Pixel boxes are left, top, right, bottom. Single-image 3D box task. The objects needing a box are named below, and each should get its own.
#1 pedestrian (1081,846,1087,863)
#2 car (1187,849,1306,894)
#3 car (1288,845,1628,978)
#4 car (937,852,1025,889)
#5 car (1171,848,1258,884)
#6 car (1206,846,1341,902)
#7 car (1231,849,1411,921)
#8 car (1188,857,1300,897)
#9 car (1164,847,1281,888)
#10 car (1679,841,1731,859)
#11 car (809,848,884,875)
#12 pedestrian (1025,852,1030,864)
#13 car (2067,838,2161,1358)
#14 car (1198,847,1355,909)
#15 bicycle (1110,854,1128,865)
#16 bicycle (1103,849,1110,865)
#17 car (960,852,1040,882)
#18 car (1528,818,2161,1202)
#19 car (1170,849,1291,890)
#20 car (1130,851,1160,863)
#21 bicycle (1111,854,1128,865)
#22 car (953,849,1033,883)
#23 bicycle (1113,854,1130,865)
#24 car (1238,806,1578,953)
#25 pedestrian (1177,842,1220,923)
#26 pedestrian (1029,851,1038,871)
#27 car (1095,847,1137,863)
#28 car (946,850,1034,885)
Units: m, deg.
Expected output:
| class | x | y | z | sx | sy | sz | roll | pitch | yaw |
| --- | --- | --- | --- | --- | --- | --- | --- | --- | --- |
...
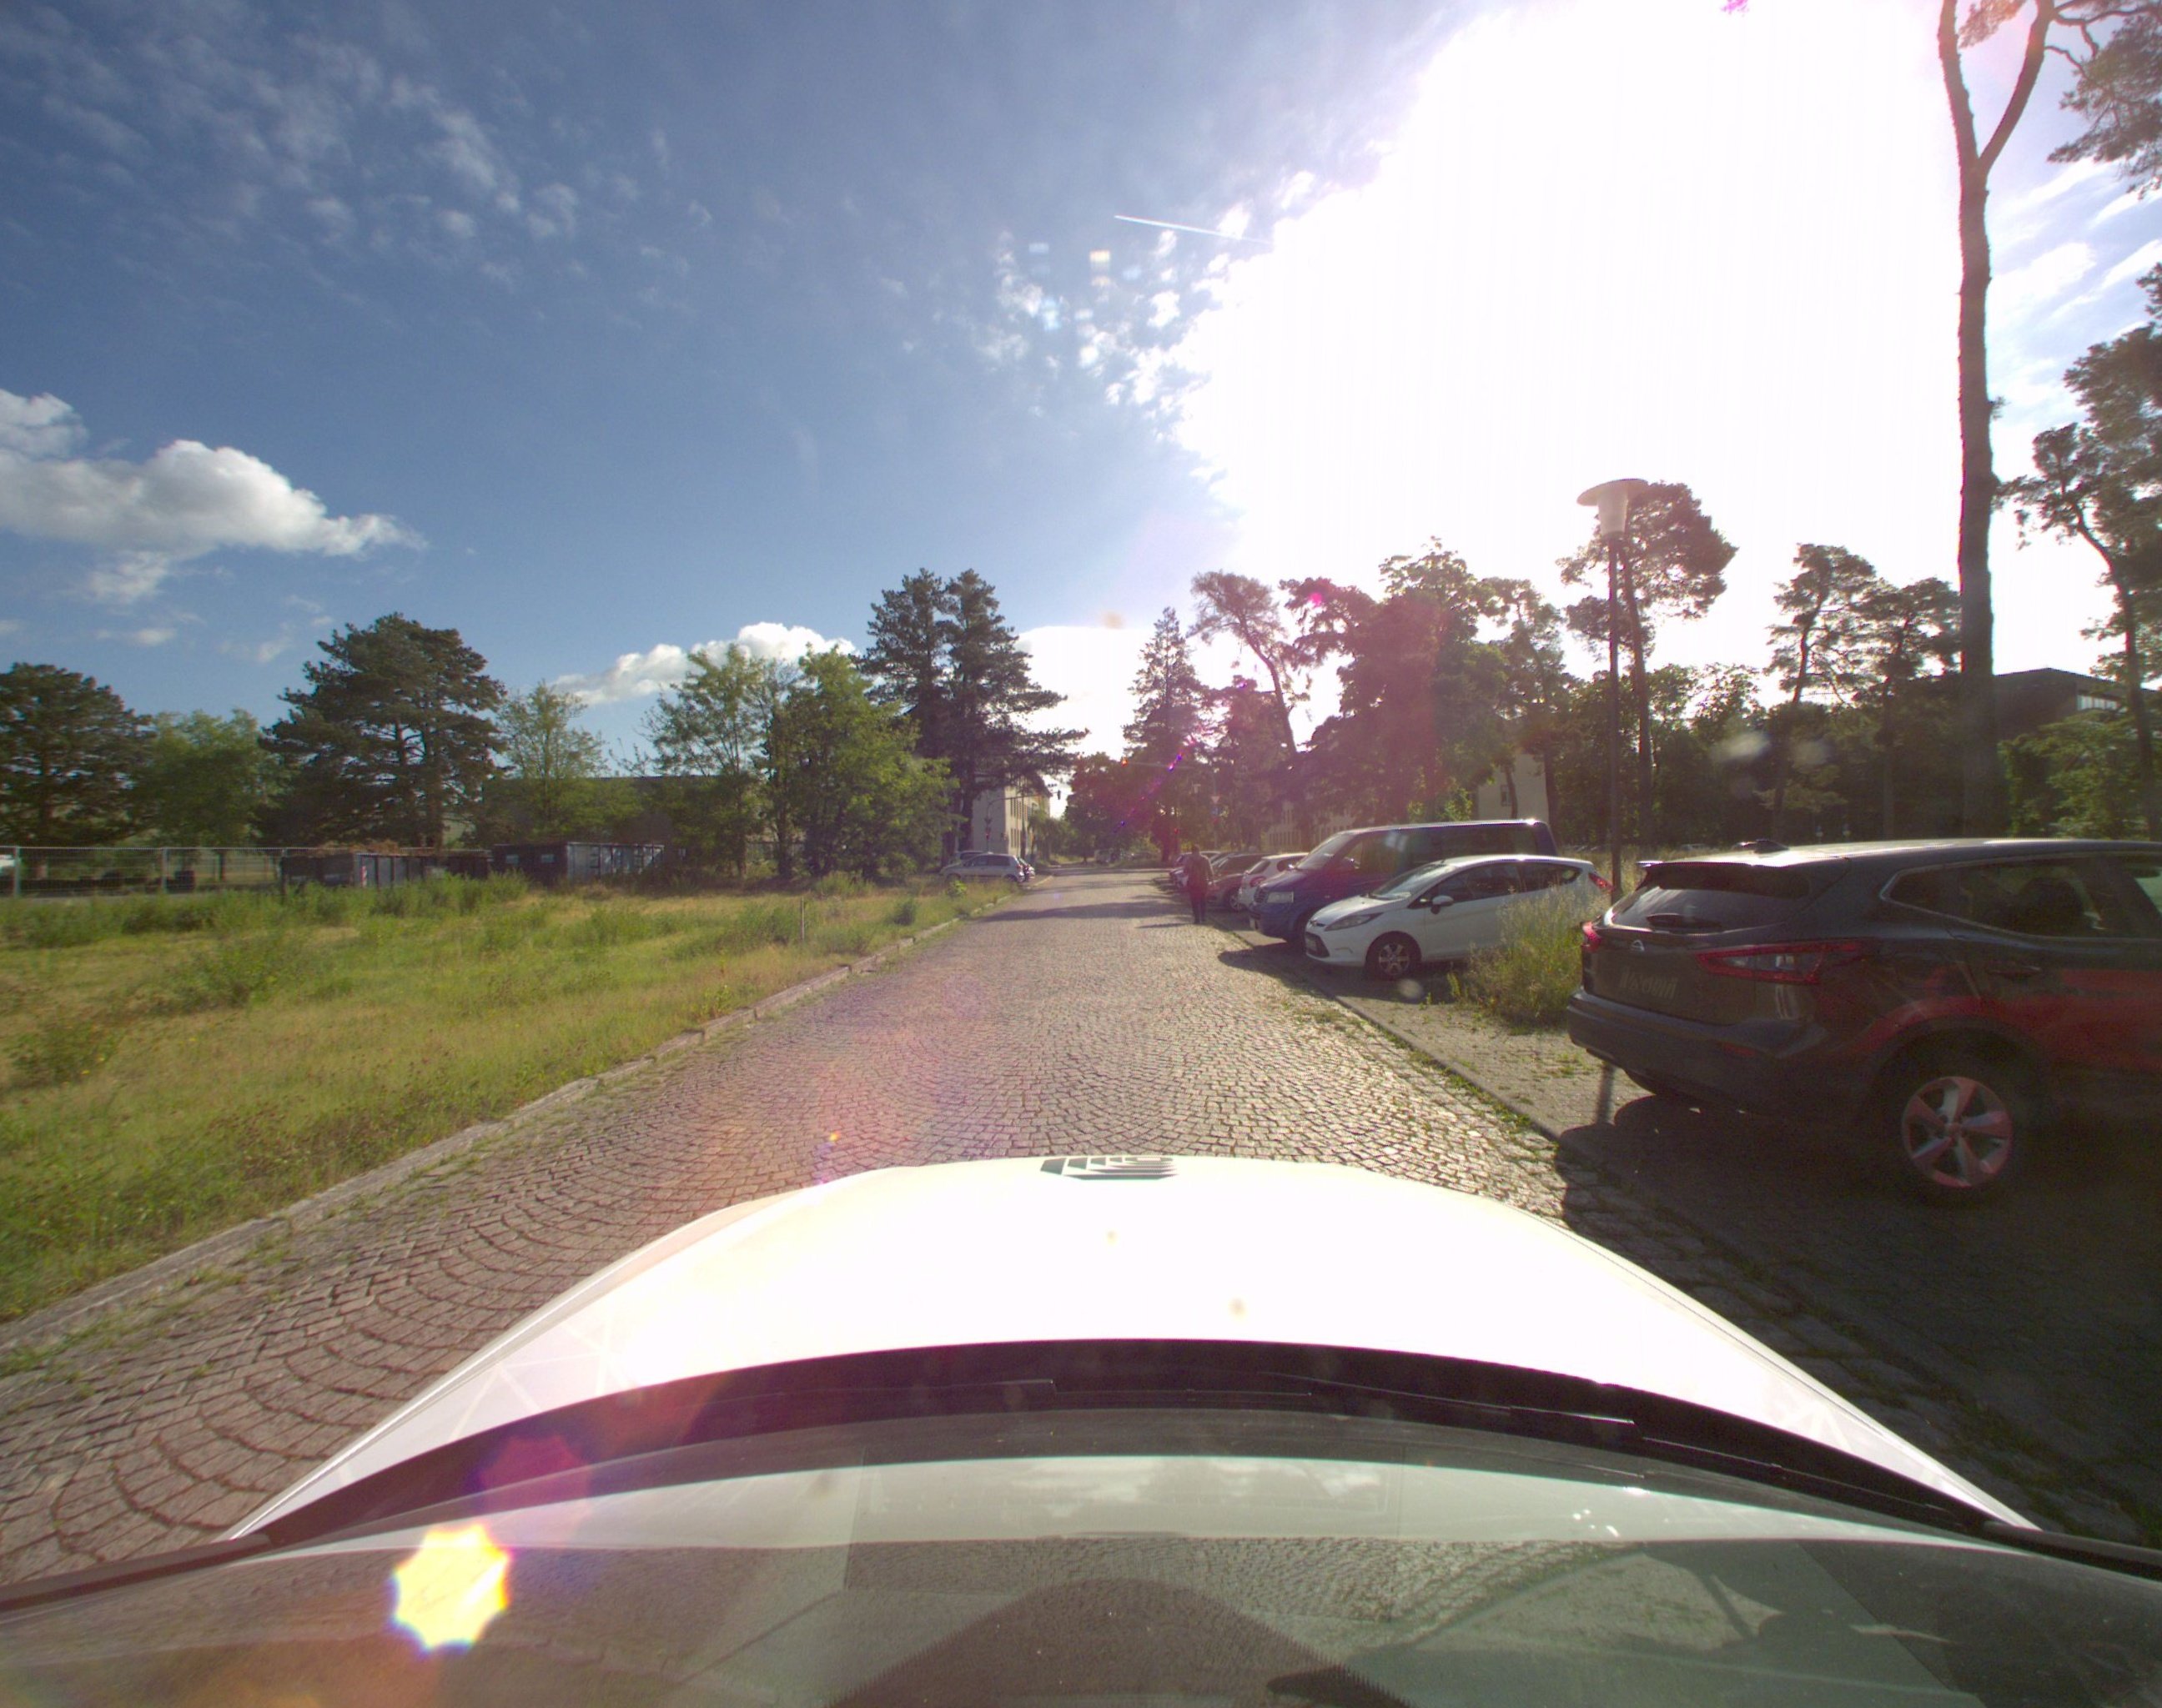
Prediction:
| class | x | y | z | sx | sy | sz | roll | pitch | yaw |
| --- | --- | --- | --- | --- | --- | --- | --- | --- | --- |
| pedestrian | 0.368 | 0.049 | 101.504 | 0.592 | 2.013 | 0.573 | -1 | 0 | 1 |
| car | 5.914 | 0.612 | 29.394 | 3.965 | 1.448 | 1.656 | -2 | 0 | 1 |
| car | 4.815 | 0.697 | 10.746 | 3.709 | 1.467 | 1.609 | -2 | 0 | -1 |
| car | -4.406 | 0.711 | 36.355 | 3.675 | 1.527 | 1.698 | 2 | 0 | -1 |
| car | 6.012 | 0.513 | 36.994 | 3.660 | 1.443 | 1.666 | -3 | 0 | 1 |
| car | 5.707 | 0.584 | 24.427 | 3.649 | 1.455 | 1.667 | -3 | 0 | 1 |
| car | 5.390 | 0.679 | 18.610 | 3.631 | 1.492 | 1.635 | -1 | 0 | 2 |
| car | 5.343 | 0.750 | 27.014 | 3.447 | 1.242 | 1.537 | -1 | 0 | 2 |
| car | 5.926 | 0.552 | 34.470 | 4.606 | 1.455 | 1.869 | -3 | 0 | -1 |
| car | 59.917 | -0.386 | 78.272 | 3.620 | 1.671 | 1.769 | -1 | 0 | 4 |
| car | -14.910 | 0.470 | 51.878 | 4.127 | 1.608 | 2.011 | -1 | 0 | 2 |
| pedestrian | -6.601 | 0.489 | 100.126 | 0.606 | 1.560 | 0.544 | -1 | 0 | -5 |
| car | 5.061 | 0.671 | 1.719 | 3.810 | 1.538 | 1.704 | -2 | 0 | 2 |
| car | 5.083 | 0.604 | 21.550 | 3.765 | 1.450 | 1.759 | -2 | 0 | 3 |
| bicycle | 4.025 | 0.601 | 86.007 | 1.829 | 1.112 | 0.495 | -1 | 0 | -2 |
| bicycle | 2.586 | 0.323 | 83.055 | 0.750 | 1.580 | 2.537 | -1 | 0 | 1 |
| car | -4.380 | 0.673 | 44.412 | 3.967 | 1.496 | 1.776 | 1 | 0 | 6 |
| car | 4.959 | 0.640 | 4.413 | 4.094 | 1.611 | 1.786 | -1 | 0 | 0 |
| car | 5.775 | 0.574 | 31.816 | 4.384 | 1.388 | 1.789 | -2 | 0 | 0 |
| car | 8.440 | 0.355 | 107.755 | 3.739 | 1.580 | 1.738 | -1 | 0 | -6 |
| bicycle | 4.110 | 0.599 | 86.550 | 1.723 | 1.112 | 0.484 | -1 | 0 | -2 |
| car | -4.445 | 0.609 | 41.672 | 3.867 | 1.615 | 1.660 | 1 | 0 | 0 |
| bicycle | 4.365 | 0.559 | 87.227 | 1.723 | 1.164 | 0.560 | -1 | 0 | -2 |
| car | 5.148 | 0.385 | 13.368 | 4.736 | 2.013 | 2.001 | -3 | 0 | 1 |
| pedestrian | 2.609 | 0.618 | 18.205 | 0.750 | 1.725 | 0.829 | 4 | 0 | 1 |
| pedestrian | -4.298 | 0.633 | 73.854 | 0.608 | 1.752 | 0.626 | -1 | 0 | -18 |
| car | 4.459 | 0.173 | 103.935 | 5.063 | 1.918 | 1.995 | -1 | 0 | -8 |
| car | -4.302 | 0.628 | 39.021 | 3.924 | 1.445 | 1.691 | 2 | 0 | 0 |
